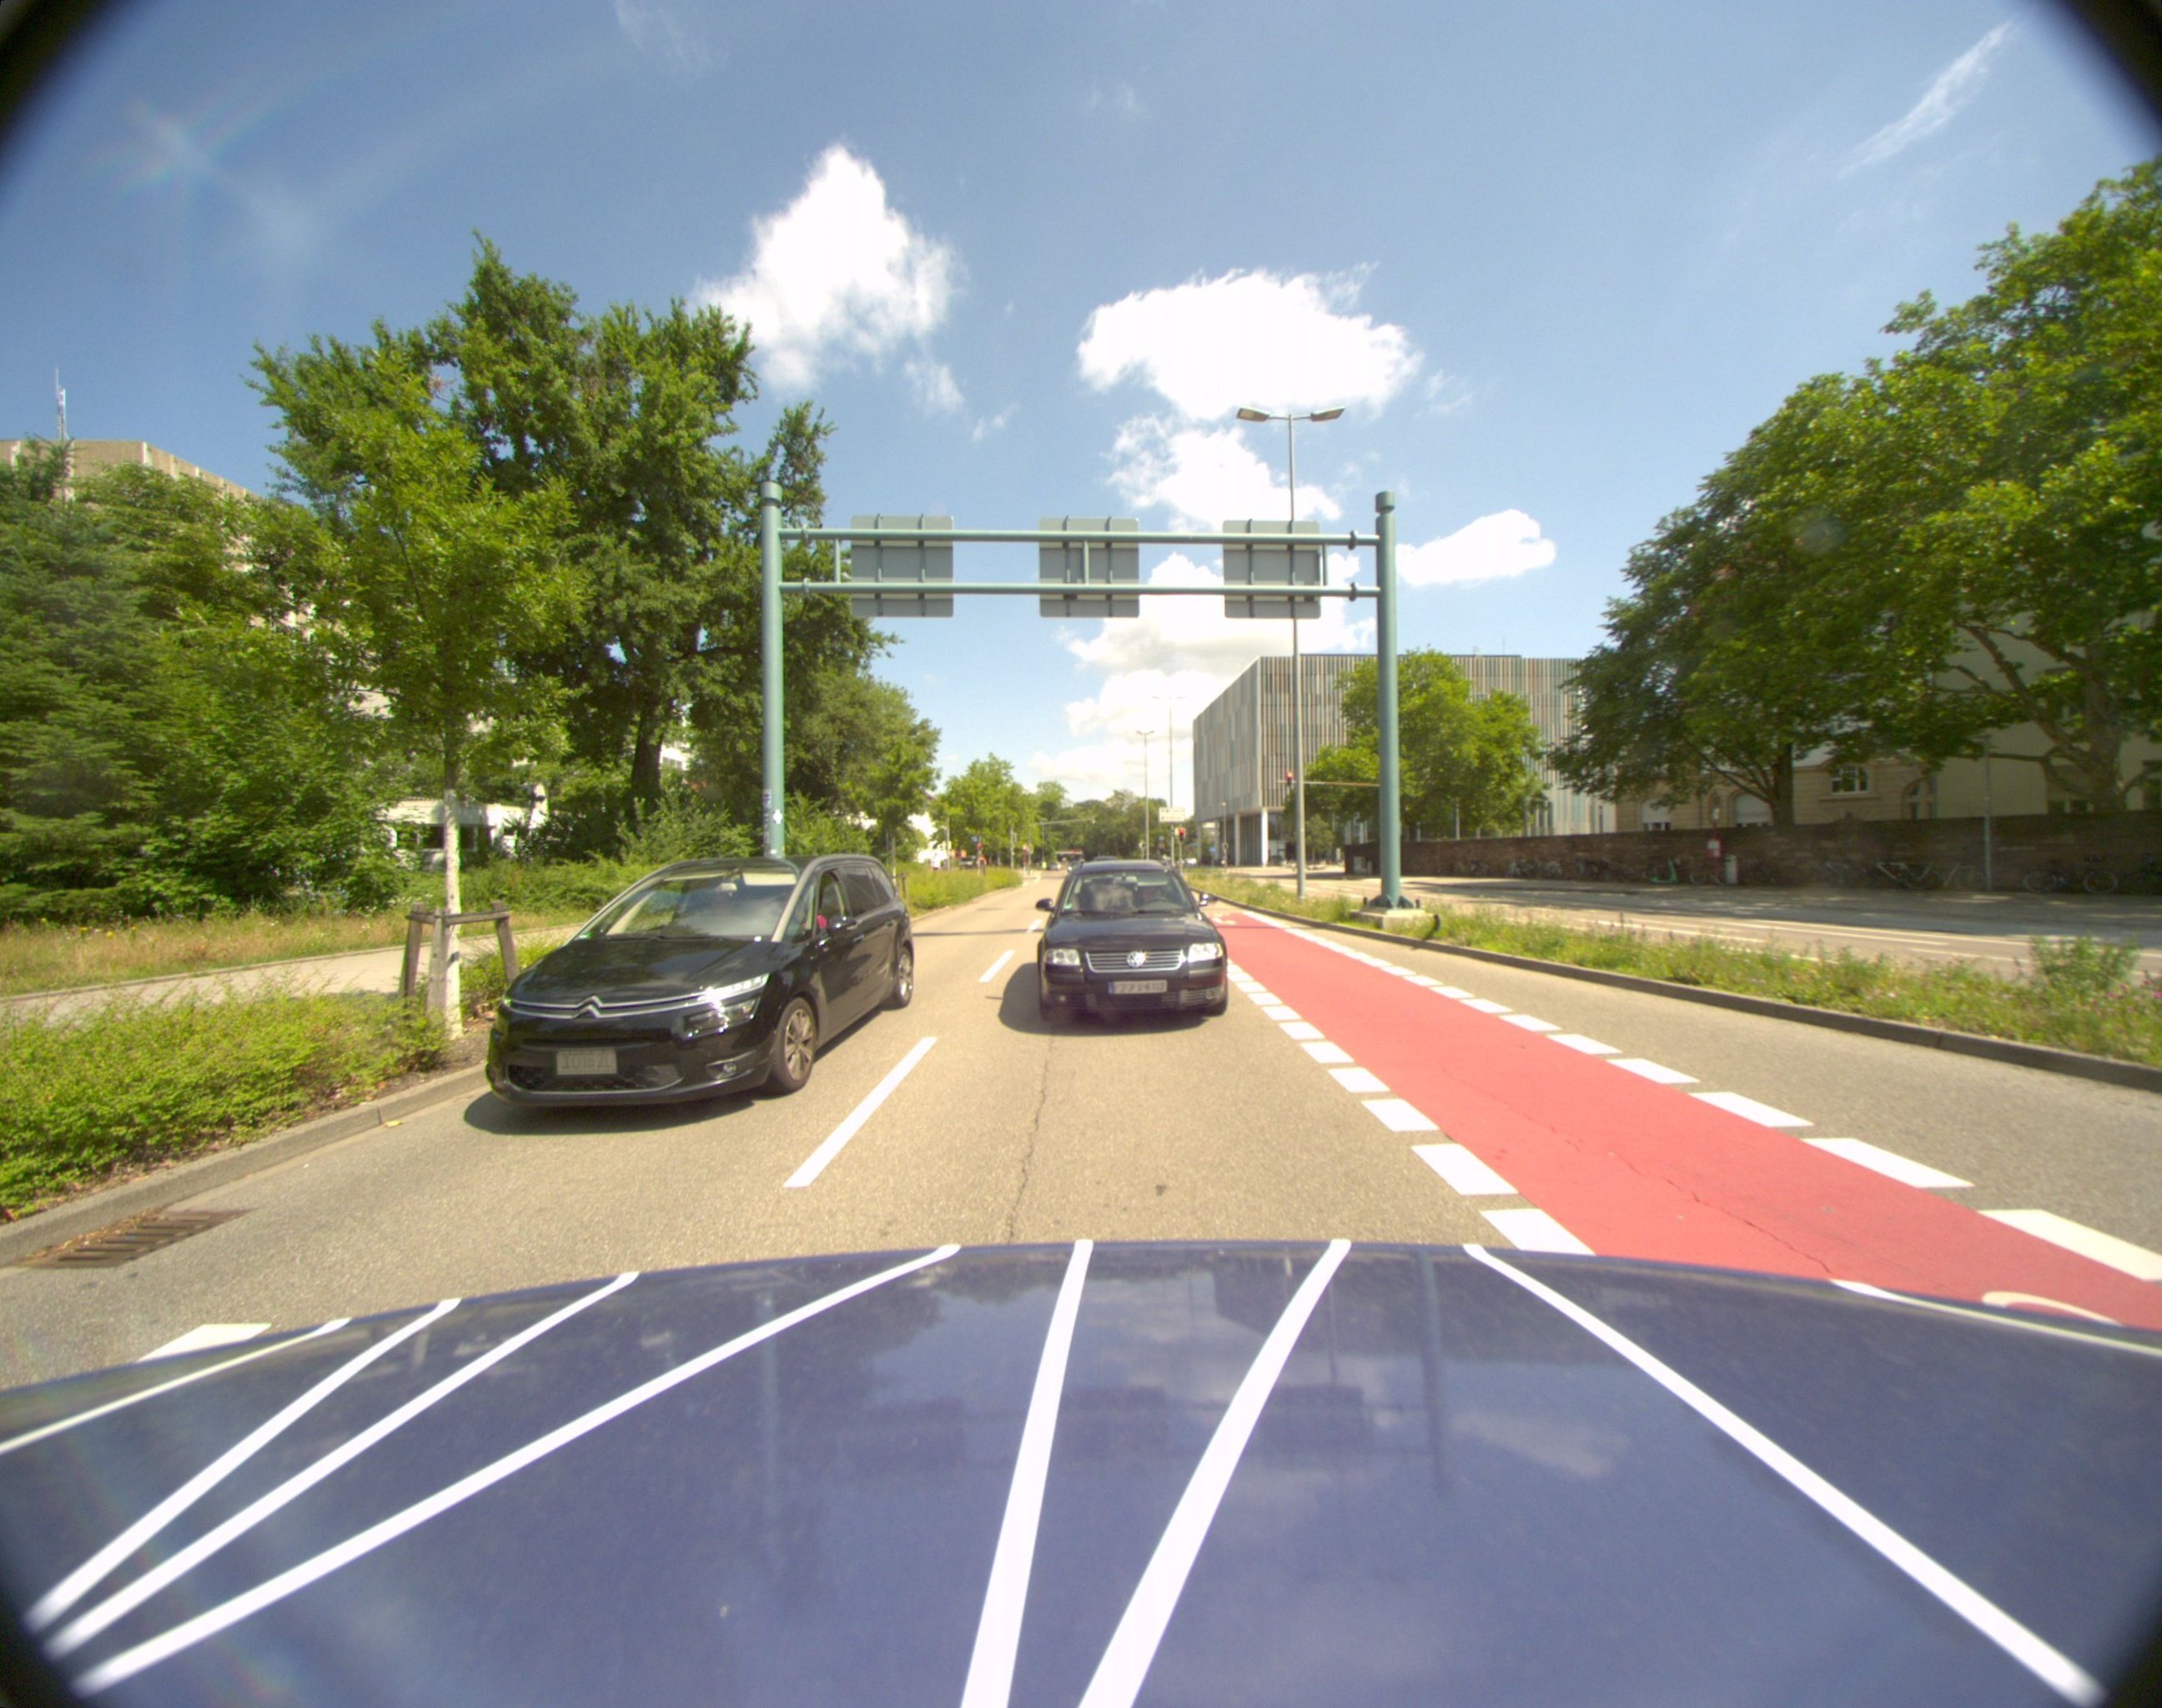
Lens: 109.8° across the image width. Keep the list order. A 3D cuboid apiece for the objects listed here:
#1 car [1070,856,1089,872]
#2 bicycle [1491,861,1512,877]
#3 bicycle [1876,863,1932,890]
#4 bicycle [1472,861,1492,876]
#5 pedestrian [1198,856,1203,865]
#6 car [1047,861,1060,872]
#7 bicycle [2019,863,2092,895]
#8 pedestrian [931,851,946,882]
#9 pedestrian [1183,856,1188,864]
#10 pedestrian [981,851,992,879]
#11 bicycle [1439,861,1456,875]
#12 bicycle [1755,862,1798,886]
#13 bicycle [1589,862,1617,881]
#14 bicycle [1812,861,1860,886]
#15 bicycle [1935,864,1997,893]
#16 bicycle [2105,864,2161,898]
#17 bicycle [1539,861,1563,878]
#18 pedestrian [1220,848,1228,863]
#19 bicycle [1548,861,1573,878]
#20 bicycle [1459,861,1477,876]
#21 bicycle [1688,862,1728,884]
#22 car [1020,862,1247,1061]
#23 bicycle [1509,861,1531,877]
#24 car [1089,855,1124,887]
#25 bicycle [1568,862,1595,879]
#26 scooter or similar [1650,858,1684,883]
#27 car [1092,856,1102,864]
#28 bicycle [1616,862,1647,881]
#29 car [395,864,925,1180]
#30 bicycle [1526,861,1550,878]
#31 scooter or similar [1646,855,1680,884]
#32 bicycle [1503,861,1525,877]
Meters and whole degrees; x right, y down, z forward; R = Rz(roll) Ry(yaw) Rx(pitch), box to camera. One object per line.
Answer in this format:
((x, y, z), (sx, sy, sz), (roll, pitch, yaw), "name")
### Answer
((-0.127, 0.943, 74.243), (1.806, 1.361, 4.157), (-1, 1, 1), "car")
((23.145, 0.820, 41.815), (0.265, 0.826, 1.234), (-1, 0, -11), "bicycle")
((26.044, 0.702, 24.065), (0.265, 0.826, 1.235), (-1, 0, -11), "bicycle")
((22.920, 0.809, 43.442), (0.265, 0.826, 1.234), (-1, 0, -11), "bicycle")
((19.076, 0.988, 121.033), (0.696, 1.445, 0.689), (-1, 0, 4), "pedestrian")
((-4.333, 1.950, 122.146), (1.816, 1.598, 4.479), (-3, 0, 1), "car")
((26.631, 0.672, 20.786), (0.265, 0.826, 1.234), (-1, 0, -13), "bicycle")
((-9.333, 0.808, 49.796), (0.846, 2.026, 0.900), (-1, 0, -18), "pedestrian")
((17.928, 0.996, 130.166), (0.696, 1.445, 0.689), (-1, 0, 5), "pedestrian")
((-6.049, 0.692, 48.502), (0.639, 1.754, 0.886), (-1, 0, -6), "pedestrian")
((22.482, 0.835, 46.662), (0.265, 0.826, 1.235), (-1, 0, -11), "bicycle")
((25.180, 0.710, 27.533), (0.265, 0.826, 1.235), (-1, 0, -11), "bicycle")
((23.955, 0.786, 34.888), (0.265, 0.826, 1.235), (-1, 0, -11), "bicycle")
((25.675, 0.642, 25.863), (0.265, 0.826, 1.235), (-1, 0, -11), "bicycle")
((26.234, 0.724, 22.541), (0.265, 0.826, 1.235), (-1, 0, -11), "bicycle")
((27.119, 0.679, 19.359), (0.265, 0.826, 1.234), (-1, 0, -13), "bicycle")
((23.216, 0.752, 37.547), (0.265, 0.826, 1.234), (-1, 0, -11), "bicycle")
((18.731, 0.182, 99.718), (0.864, 2.002, 0.995), (-1, 0, -1), "pedestrian")
((23.655, 0.751, 37.481), (0.265, 0.826, 1.235), (-1, 0, -11), "bicycle")
((22.800, 0.850, 44.767), (0.265, 0.826, 1.235), (-1, 0, -11), "bicycle")
((24.810, 0.742, 30.093), (0.265, 0.826, 1.233), (-1, 0, -21), "bicycle")
((0.445, 0.869, 8.273), (1.723, 1.472, 4.594), (-3, 0, 1), "car")
((23.351, 0.793, 40.420), (0.265, 0.826, 1.234), (-1, 0, -11), "bicycle")
((1.311, 0.849, 40.348), (1.723, 1.545, 4.594), (-3, 0, 1), "car")
((23.847, 0.782, 36.219), (0.265, 0.826, 1.235), (-1, 0, -11), "bicycle")
((24.567, 0.687, 31.863), (0.266, 1.014, 1.140), (-1, 0, -22), "scooter or similar")
((3.308, 1.213, 158.079), (1.758, 1.581, 4.275), (-1, 0, -4), "car")
((24.147, 0.773, 33.344), (0.265, 0.826, 1.235), (-1, 0, -11), "bicycle")
((-2.740, 0.938, 6.347), (1.816, 1.598, 4.479), (-3, 0, 1), "car")
((23.461, 0.790, 39.010), (0.265, 0.826, 1.235), (-1, 0, -11), "bicycle")
((23.830, 0.625, 31.135), (0.265, 1.182, 1.234), (-1, 0, -11), "scooter or similar")
((22.845, 0.798, 40.096), (0.265, 0.826, 1.234), (-1, 0, -11), "bicycle")
